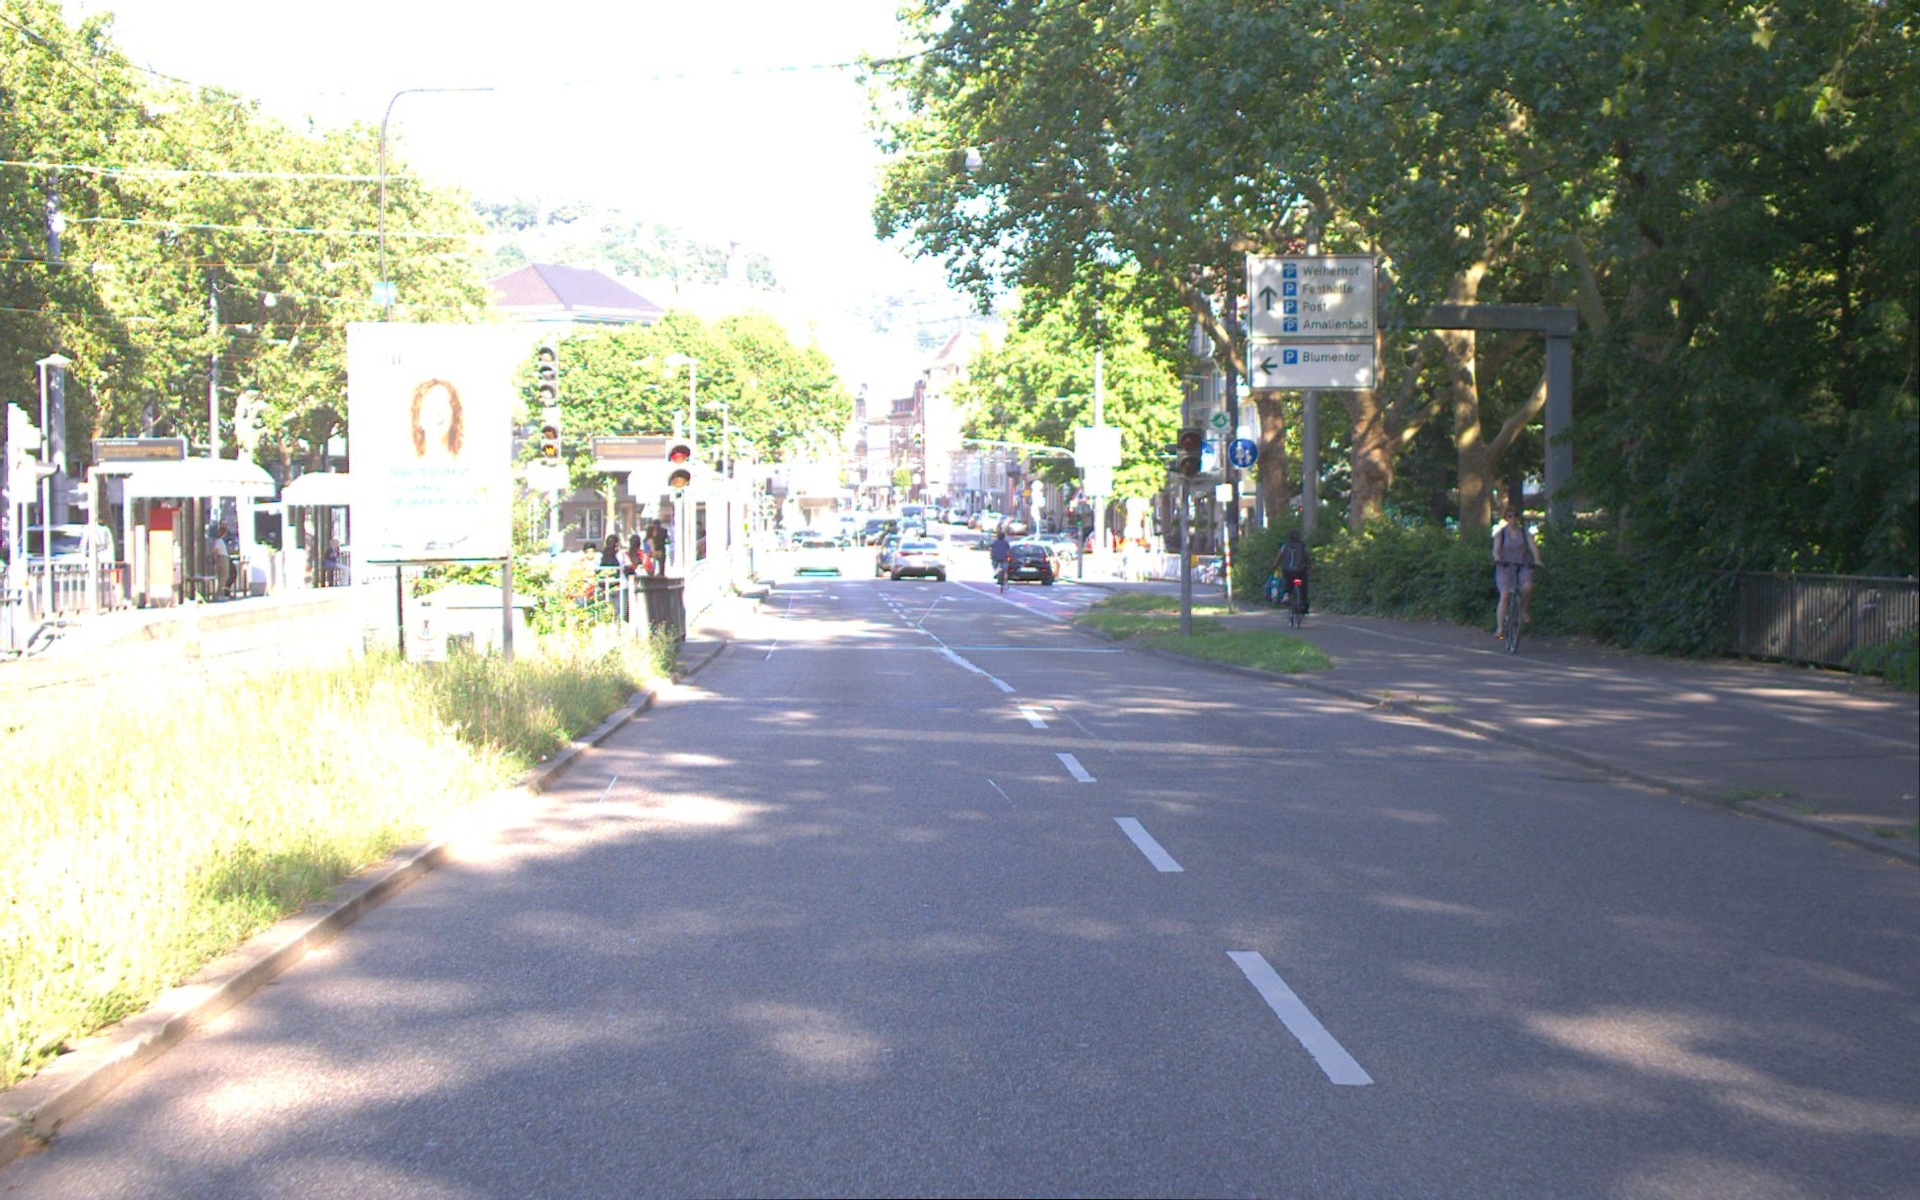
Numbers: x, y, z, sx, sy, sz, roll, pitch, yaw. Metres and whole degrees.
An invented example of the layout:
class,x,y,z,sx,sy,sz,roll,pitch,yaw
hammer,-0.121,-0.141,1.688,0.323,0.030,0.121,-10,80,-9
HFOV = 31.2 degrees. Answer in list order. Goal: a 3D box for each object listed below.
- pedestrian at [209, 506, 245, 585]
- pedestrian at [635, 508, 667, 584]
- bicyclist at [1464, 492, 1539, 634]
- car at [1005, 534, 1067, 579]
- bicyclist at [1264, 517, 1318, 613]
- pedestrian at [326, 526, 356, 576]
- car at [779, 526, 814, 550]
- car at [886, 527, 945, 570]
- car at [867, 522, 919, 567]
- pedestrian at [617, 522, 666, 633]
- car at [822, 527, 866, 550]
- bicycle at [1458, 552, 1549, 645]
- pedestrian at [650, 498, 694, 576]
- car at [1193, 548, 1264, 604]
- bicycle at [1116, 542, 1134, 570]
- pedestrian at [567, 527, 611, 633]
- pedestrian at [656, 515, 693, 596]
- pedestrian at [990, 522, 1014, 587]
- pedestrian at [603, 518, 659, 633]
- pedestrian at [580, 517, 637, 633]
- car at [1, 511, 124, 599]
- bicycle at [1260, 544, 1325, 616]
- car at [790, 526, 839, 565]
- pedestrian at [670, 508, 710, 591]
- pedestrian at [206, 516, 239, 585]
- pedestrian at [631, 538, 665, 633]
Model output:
class,x,y,z,sx,sy,sz,roll,pitch,yaw
pedestrian,-16.605,-1.224,77.879,0.648,1.766,0.650,1,0,0
pedestrian,-6.384,-1.113,71.123,0.588,1.561,0.650,1,1,-2
bicyclist,6.677,-0.461,42.419,0.699,1.722,1.080,0,1,-4
car,2.553,-1.493,116.947,1.800,1.434,4.046,1,1,-3
bicyclist,5.252,-0.562,54.552,0.766,1.507,0.650,0,1,-3
pedestrian,-16.880,-1.334,93.807,0.669,1.320,0.757,-3,1,-4
car,-10.644,-4.037,223.507,1.794,1.505,3.999,0,1,4
car,-1.589,-1.843,121.789,1.929,1.467,4.855,0,1,-3
car,-2.525,-2.101,129.172,1.800,1.632,4.046,0,1,-3
pedestrian,-4.457,-0.318,48.096,0.589,1.514,0.514,-2,1,-2
car,-7.833,-4.113,231.673,1.795,1.505,3.997,0,1,16
bicycle,6.680,-0.035,42.354,0.699,1.104,1.930,0,1,-4
pedestrian,-6.387,-1.393,76.271,0.651,1.716,0.710,1,1,-38
car,9.375,-0.835,120.254,1.794,1.891,4.360,1,0,-5
bicycle,6.370,-1.706,132.533,0.498,1.071,1.800,1,0,-3
pedestrian,-5.243,-0.285,48.584,0.520,1.467,0.514,-2,1,-1
pedestrian,-6.503,-1.020,78.380,0.651,1.835,0.710,1,1,7
pedestrian,1.222,-1.329,100.074,0.657,1.864,0.678,0,1,-3
pedestrian,-4.540,-0.340,47.416,0.520,1.563,0.507,-2,1,28
pedestrian,-4.804,-0.341,47.000,0.520,1.563,0.507,-2,1,28
car,-22.734,-1.137,87.258,2.067,2.117,5.091,-2,1,-4
bicycle,5.261,-0.322,54.549,0.766,1.104,1.800,0,1,-3
car,-5.556,-2.071,130.782,1.808,1.447,4.001,1,1,-3
pedestrian,-5.593,-1.043,71.258,0.742,1.688,0.791,1,1,-2
pedestrian,-16.548,-1.103,77.134,0.592,1.538,0.627,1,0,-2
pedestrian,-4.404,-0.211,48.567,0.416,1.316,0.359,-2,1,-2
